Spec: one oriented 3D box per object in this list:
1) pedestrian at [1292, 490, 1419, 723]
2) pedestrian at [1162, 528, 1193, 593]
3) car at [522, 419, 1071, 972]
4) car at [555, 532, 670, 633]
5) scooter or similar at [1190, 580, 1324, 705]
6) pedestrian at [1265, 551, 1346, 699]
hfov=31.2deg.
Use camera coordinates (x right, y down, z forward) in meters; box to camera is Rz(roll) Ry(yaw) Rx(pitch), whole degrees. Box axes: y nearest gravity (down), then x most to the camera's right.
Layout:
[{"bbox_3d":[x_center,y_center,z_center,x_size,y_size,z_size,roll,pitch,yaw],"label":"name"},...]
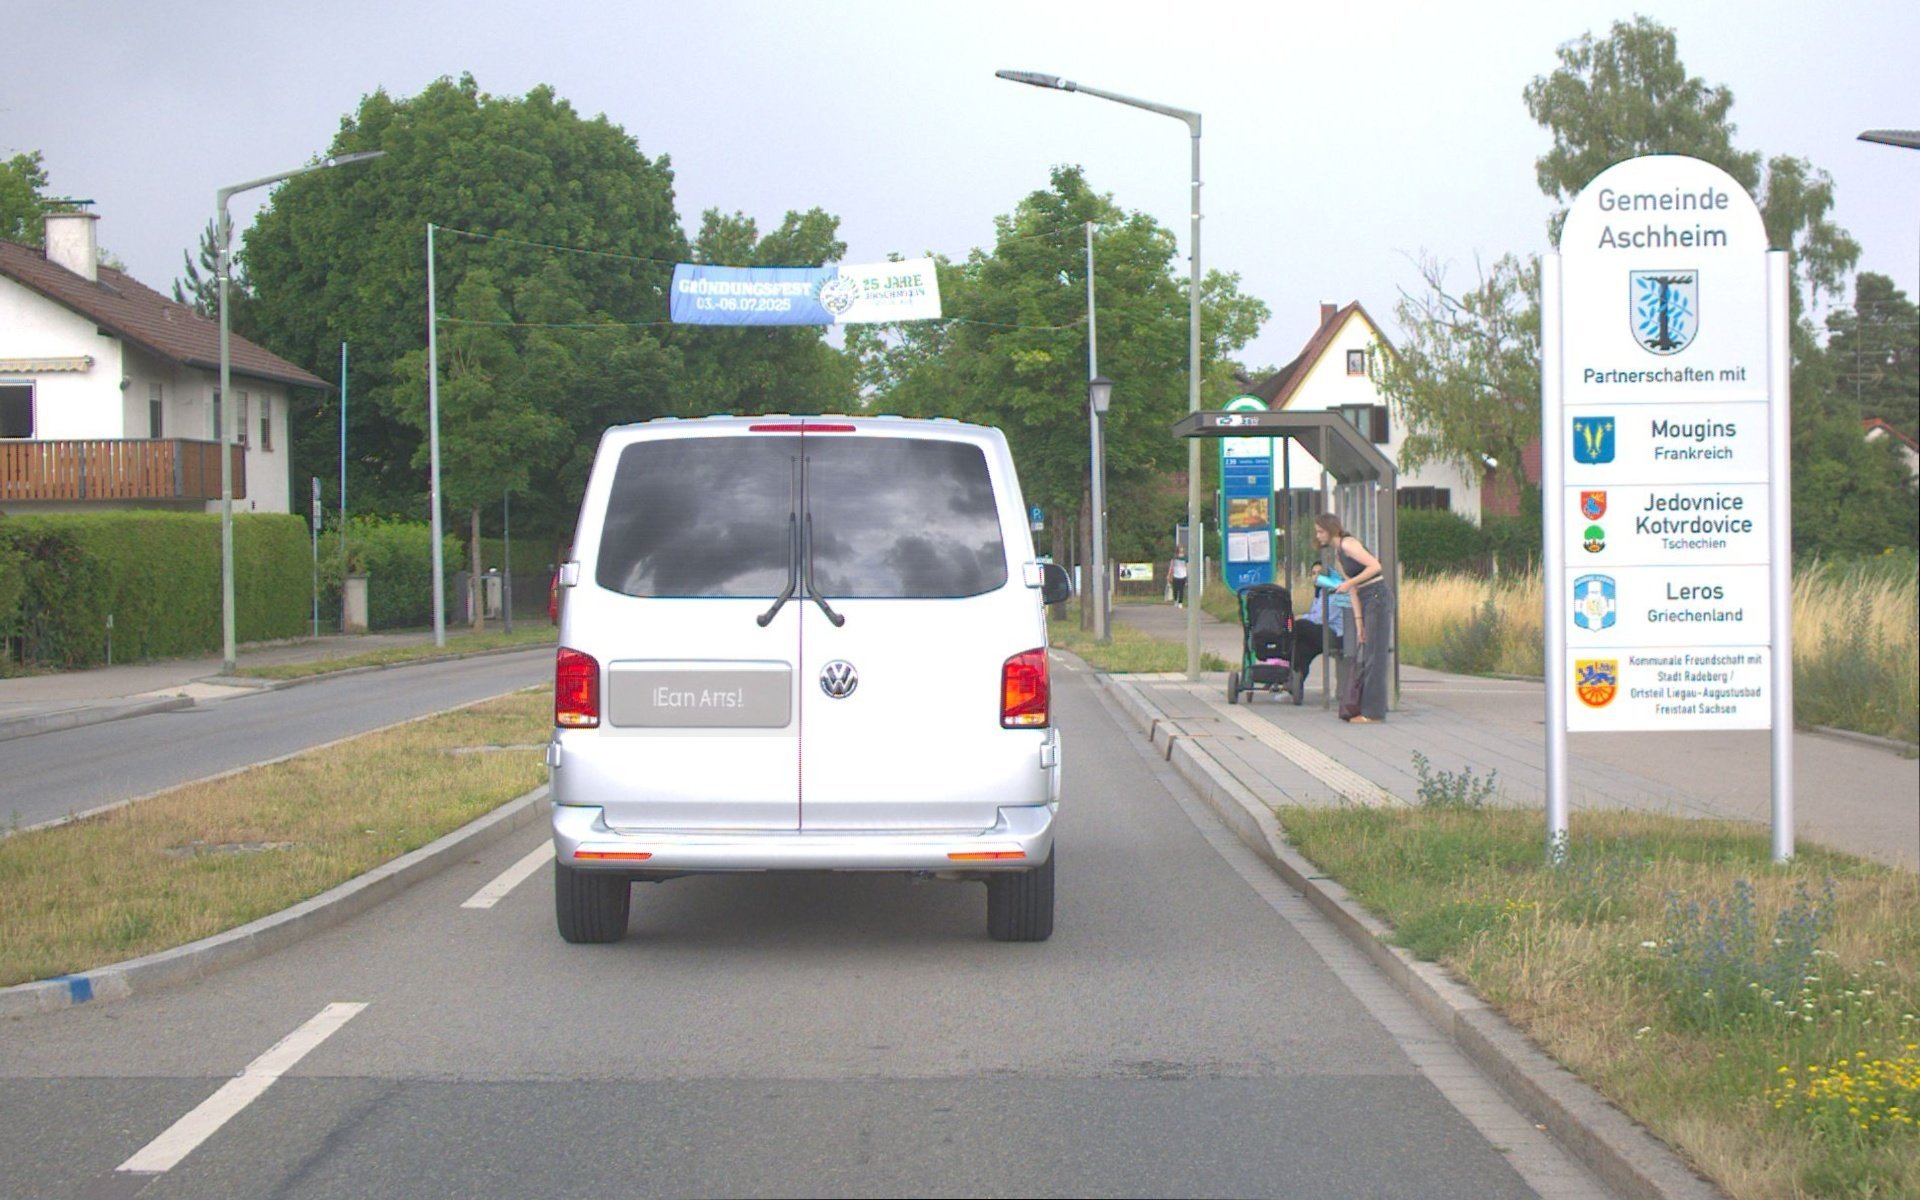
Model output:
[{"bbox_3d":[3.123,0.045,27.113,0.782,1.786,0.778,1,0,21],"label":"pedestrian"},{"bbox_3d":[5.849,-1.060,92.400,0.837,1.749,0.869,0,1,5],"label":"pedestrian"},{"bbox_3d":[-0.592,0.315,13.865,1.888,1.905,4.000,0,0,-1],"label":"car"},{"bbox_3d":[-7.286,-0.409,72.485,1.830,2.023,5.046,1,1,1],"label":"car"},{"bbox_3d":[2.612,0.366,30.220,0.708,1.058,1.058,1,0,37],"label":"scooter or similar"},{"bbox_3d":[3.091,0.218,30.752,0.665,1.298,0.505,1,0,9],"label":"pedestrian"}]
